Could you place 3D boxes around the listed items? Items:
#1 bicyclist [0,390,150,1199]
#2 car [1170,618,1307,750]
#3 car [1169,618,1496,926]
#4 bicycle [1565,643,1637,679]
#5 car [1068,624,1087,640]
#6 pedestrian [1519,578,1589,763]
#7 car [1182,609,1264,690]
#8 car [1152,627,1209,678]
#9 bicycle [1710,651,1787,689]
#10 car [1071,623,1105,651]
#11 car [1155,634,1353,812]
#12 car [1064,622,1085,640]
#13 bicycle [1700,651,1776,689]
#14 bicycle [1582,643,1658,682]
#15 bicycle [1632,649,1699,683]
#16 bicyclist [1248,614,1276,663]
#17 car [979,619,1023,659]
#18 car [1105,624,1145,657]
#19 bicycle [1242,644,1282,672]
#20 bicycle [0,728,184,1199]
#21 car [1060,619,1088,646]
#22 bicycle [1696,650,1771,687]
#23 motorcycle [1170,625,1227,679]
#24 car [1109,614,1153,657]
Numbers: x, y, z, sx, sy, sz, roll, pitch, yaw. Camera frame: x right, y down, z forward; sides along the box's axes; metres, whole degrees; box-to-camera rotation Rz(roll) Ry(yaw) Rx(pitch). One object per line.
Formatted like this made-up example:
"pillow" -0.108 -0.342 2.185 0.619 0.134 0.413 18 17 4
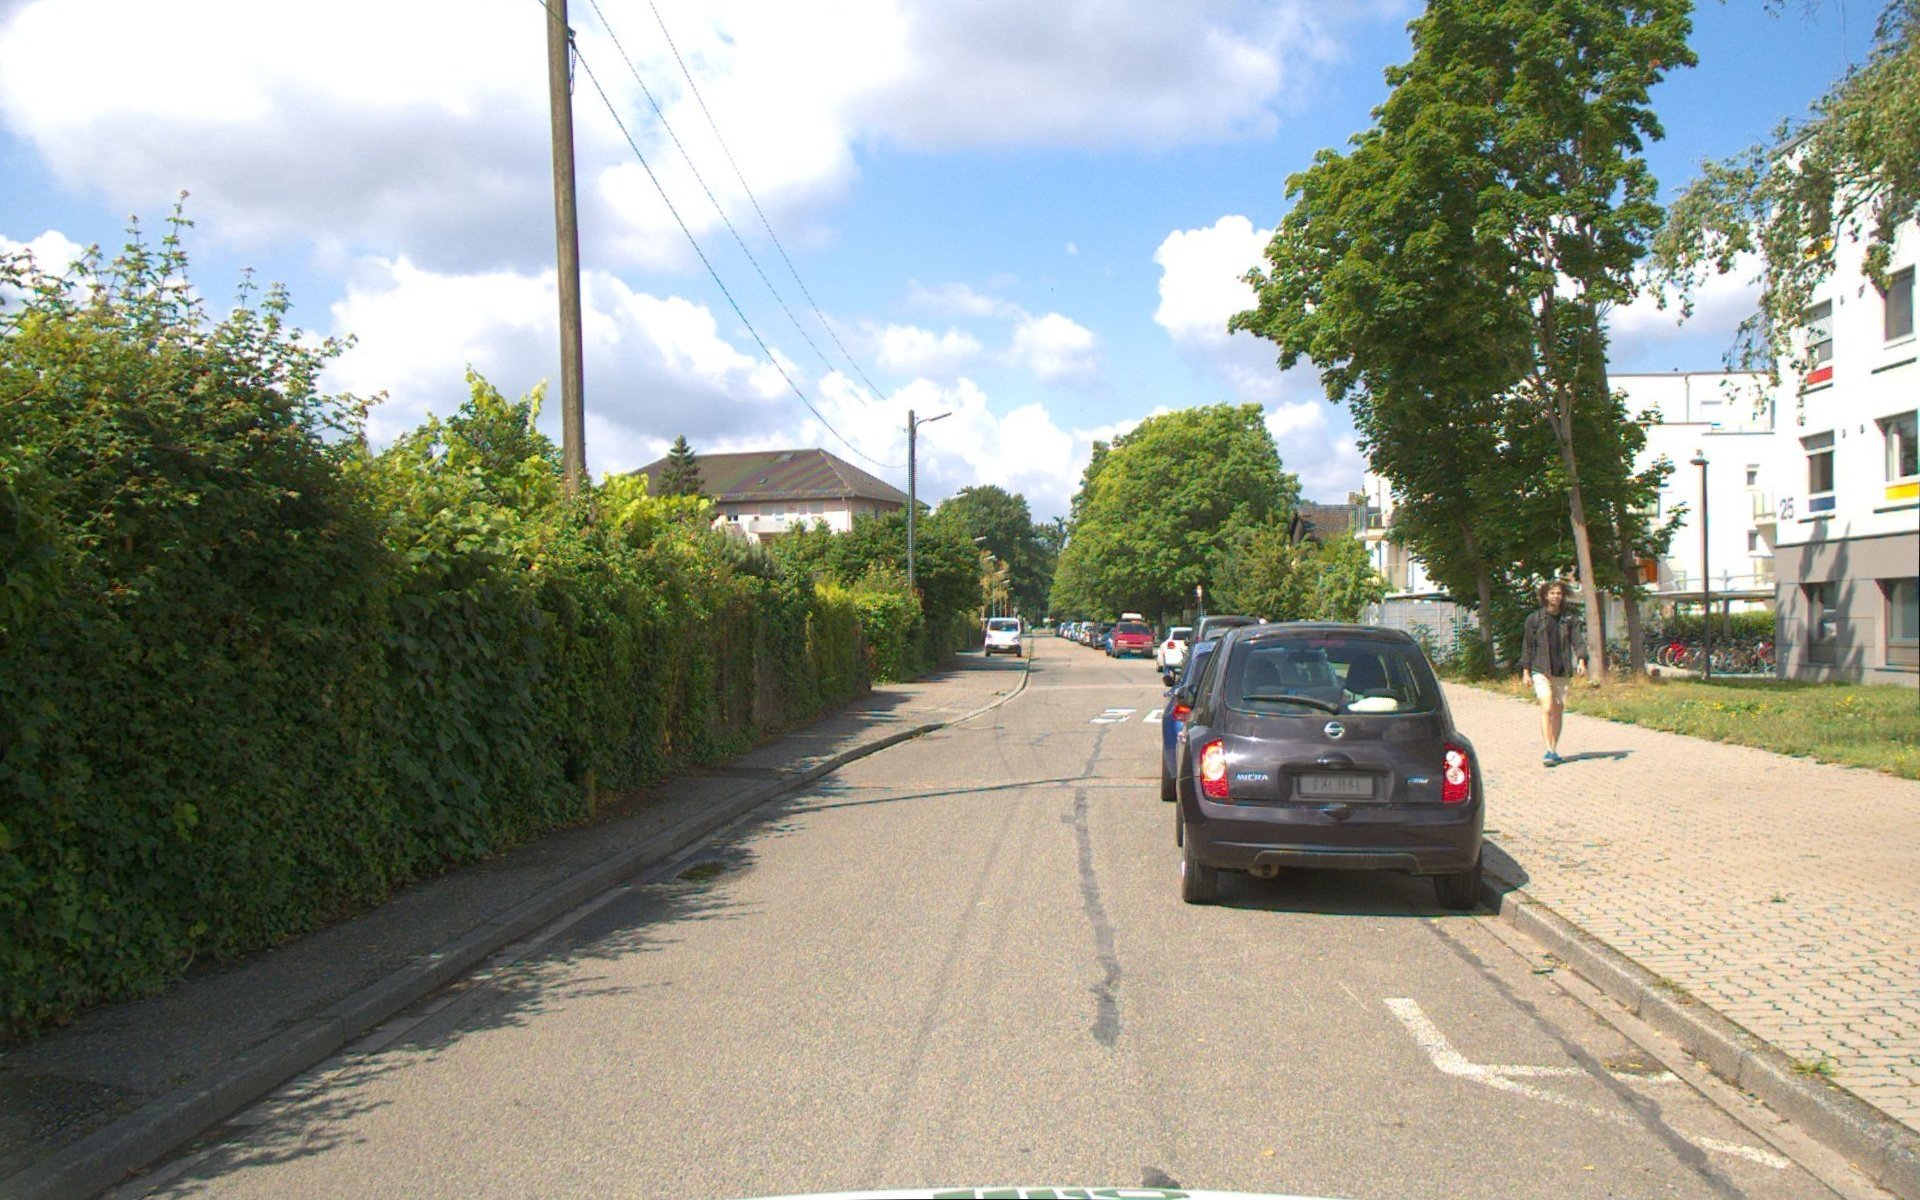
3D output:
"bicyclist" -1.916 0.598 2.650 0.645 1.885 1.043 -2 -1 5
"car" 3.686 1.062 21.913 1.628 1.579 3.640 0 -1 10
"car" 2.143 0.912 10.417 1.628 1.532 4.003 0 -1 7
"bicycle" 20.623 1.961 53.242 2.004 1.098 0.688 -2 -1 6
"car" 12.283 3.341 172.637 1.812 1.646 4.002 0 -1 7
"pedestrian" 5.840 0.682 16.278 0.597 1.776 0.722 0 -2 16
"car" 6.269 1.176 39.689 1.834 1.838 3.434 0 -1 7
"car" 7.022 1.668 52.945 1.643 1.546 4.002 1 -1 5
"bicycle" 24.504 2.185 51.409 2.004 1.098 0.688 -2 -1 6
"car" 8.012 2.304 103.139 2.014 1.681 4.543 1 -1 5
"car" 2.731 1.078 15.991 1.628 1.465 4.209 0 -1 7
"car" 10.948 2.997 158.170 1.812 1.646 4.003 -1 -1 7
"bicycle" 24.619 2.214 52.365 2.004 1.098 0.688 -2 -1 6
"bicycle" 20.548 1.945 51.526 2.044 1.139 0.625 -2 -1 7
"bicycle" 24.719 2.304 57.954 2.004 1.098 0.688 -2 -1 6
"bicyclist" 11.523 1.469 63.087 0.771 1.817 0.891 0 -2 35
"car" 1.983 1.855 78.694 1.862 1.846 4.002 1 -1 5
"car" 8.652 2.121 86.978 2.014 1.681 4.543 1 -1 5
"bicycle" 11.528 2.204 63.086 0.844 1.044 1.814 0 -2 35
"bicycle" -1.957 0.846 2.563 0.507 1.170 1.828 -2 -1 5
"car" 8.850 2.516 128.250 2.014 1.996 4.543 1 -1 5
"bicycle" 24.837 2.198 53.124 2.004 1.098 0.688 -2 -1 6
"motorcycle" 6.192 1.348 42.966 1.397 1.386 0.869 1 -1 4
"car" 8.066 1.696 78.316 2.014 1.960 4.543 1 -1 5
